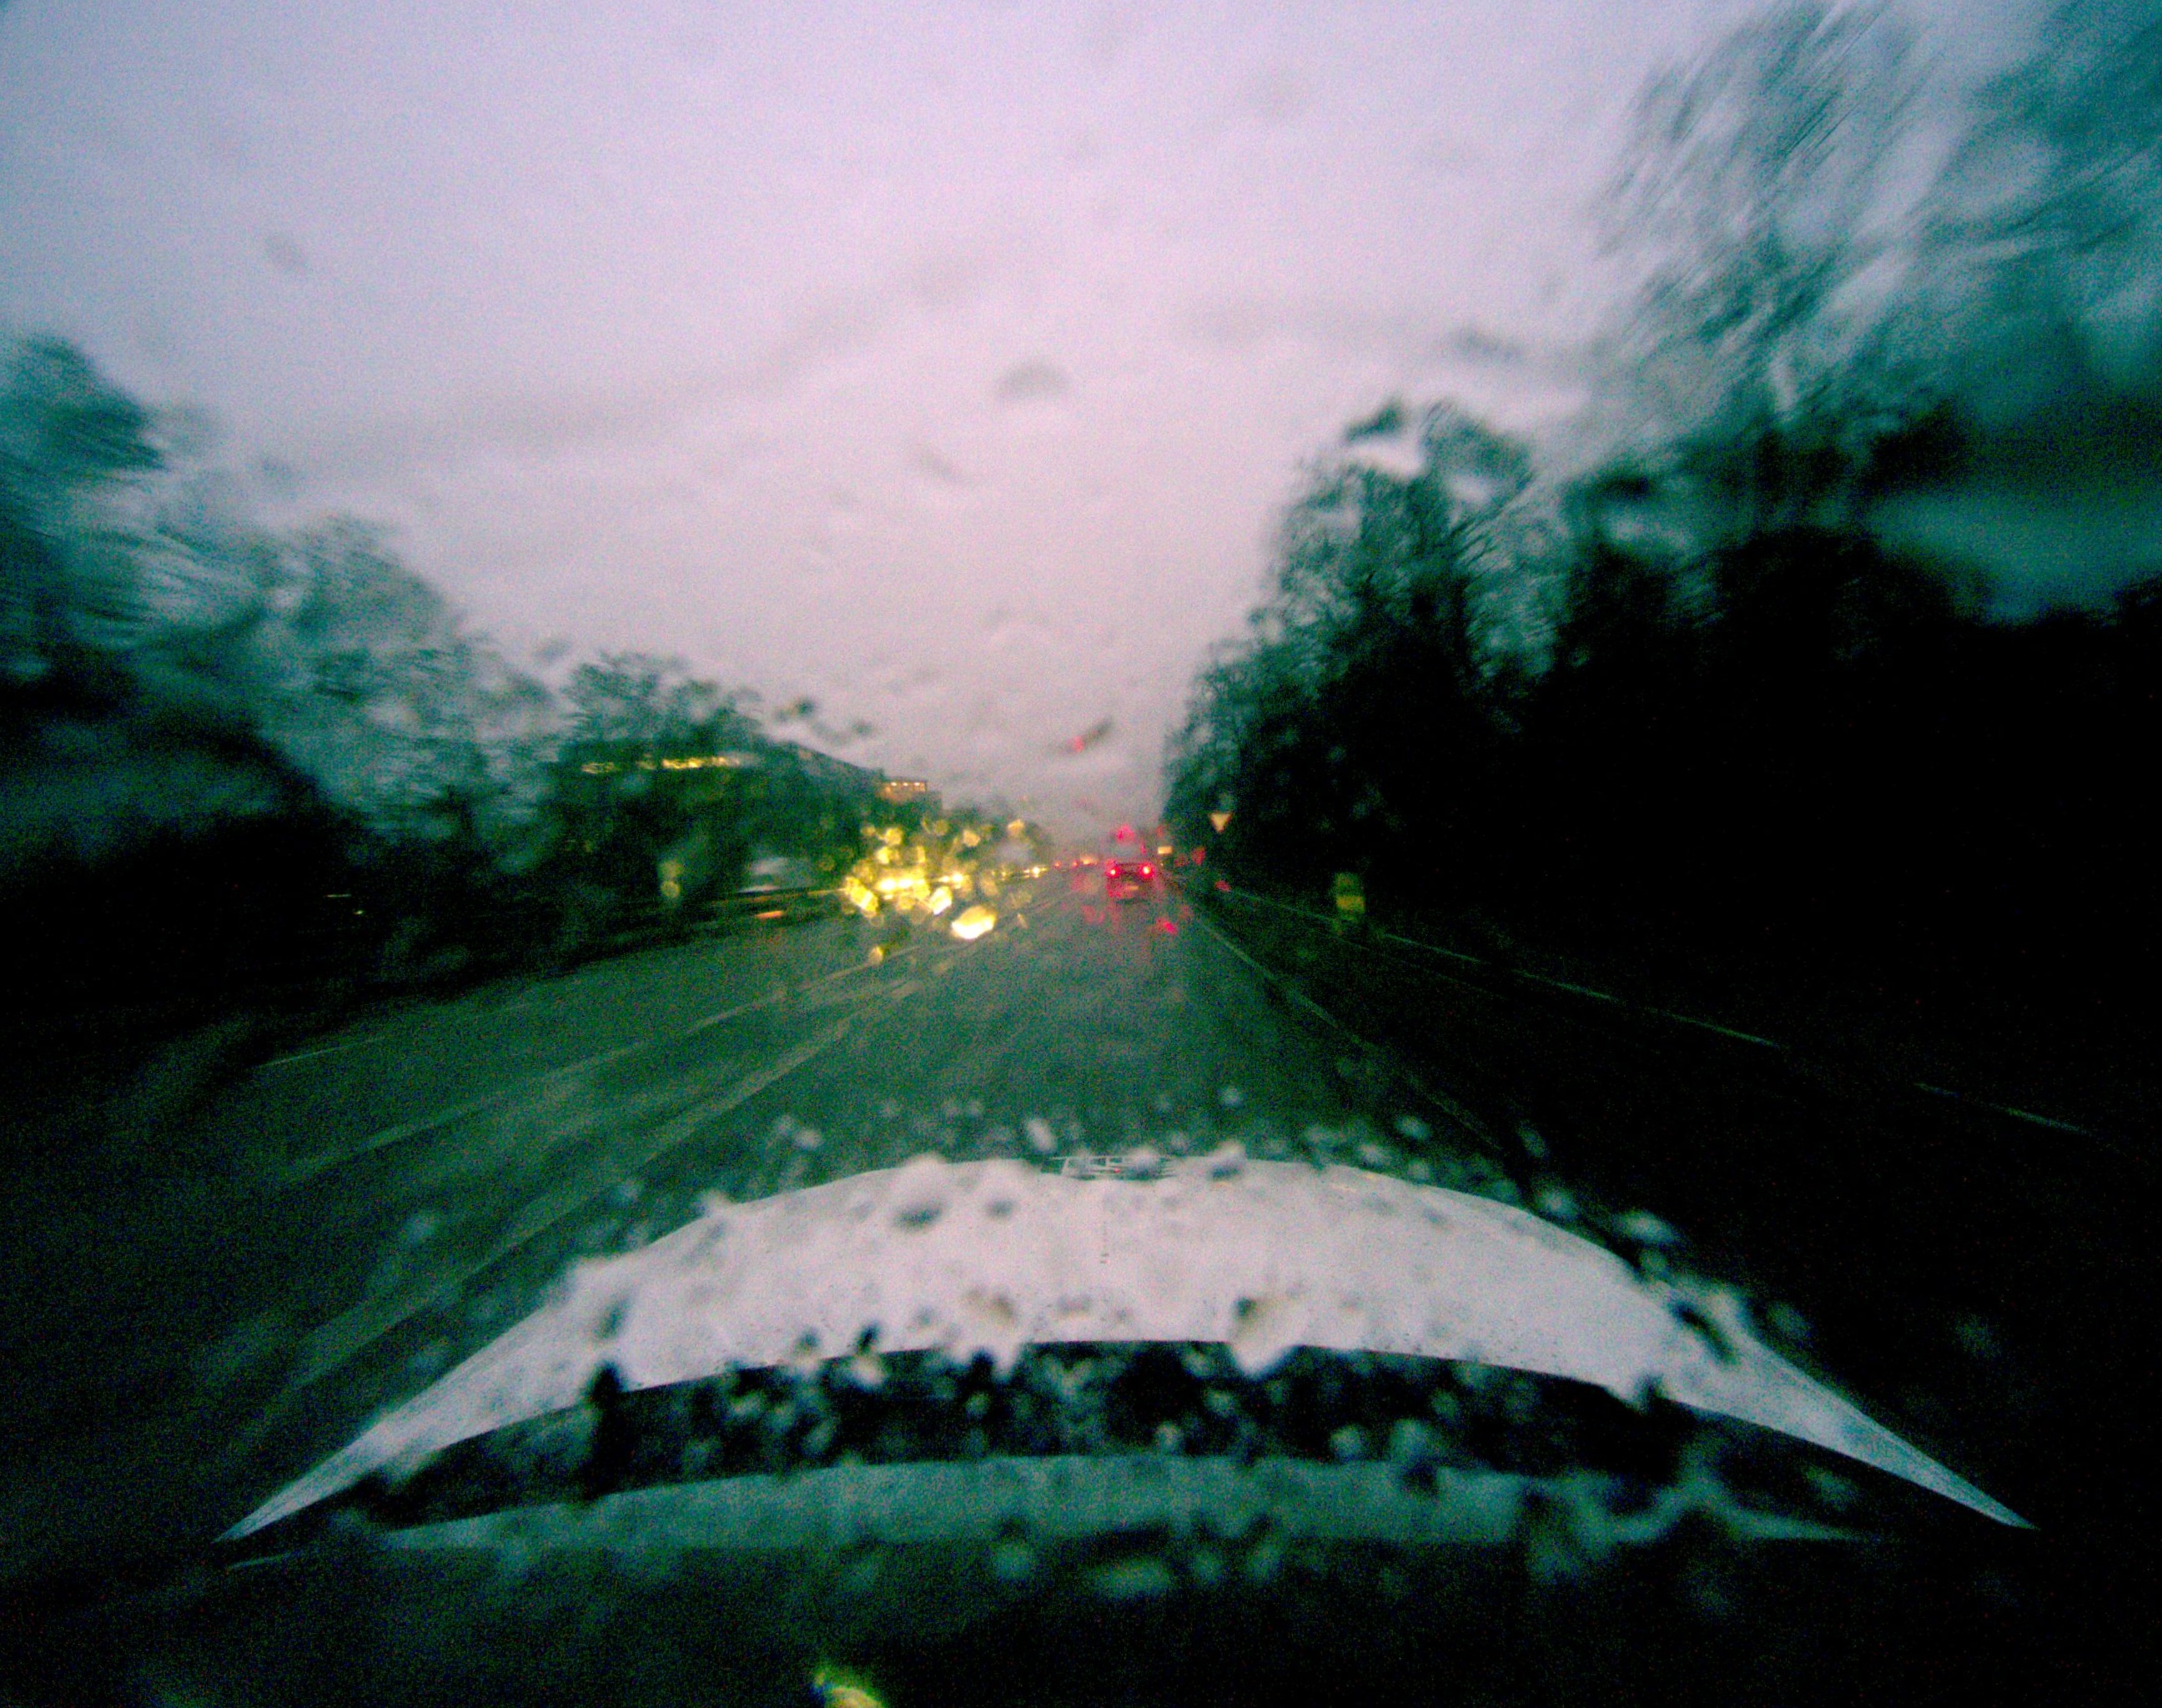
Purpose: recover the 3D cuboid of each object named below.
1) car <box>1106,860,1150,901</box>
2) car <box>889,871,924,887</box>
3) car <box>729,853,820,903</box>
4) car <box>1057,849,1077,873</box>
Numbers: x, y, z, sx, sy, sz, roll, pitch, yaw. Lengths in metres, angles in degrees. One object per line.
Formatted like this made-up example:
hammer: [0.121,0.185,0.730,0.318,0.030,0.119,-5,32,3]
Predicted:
car: [1.740,0.954,30.411,1.521,1.416,3.481,-1,-1,2]
car: [-15.456,2.228,72.412,1.701,1.322,4.479,-1,0,6]
car: [-18.173,1.370,48.747,2.515,2.730,6.350,-1,-1,6]
car: [-1.420,0.720,83.862,1.994,2.453,4.000,-1,-1,0]
